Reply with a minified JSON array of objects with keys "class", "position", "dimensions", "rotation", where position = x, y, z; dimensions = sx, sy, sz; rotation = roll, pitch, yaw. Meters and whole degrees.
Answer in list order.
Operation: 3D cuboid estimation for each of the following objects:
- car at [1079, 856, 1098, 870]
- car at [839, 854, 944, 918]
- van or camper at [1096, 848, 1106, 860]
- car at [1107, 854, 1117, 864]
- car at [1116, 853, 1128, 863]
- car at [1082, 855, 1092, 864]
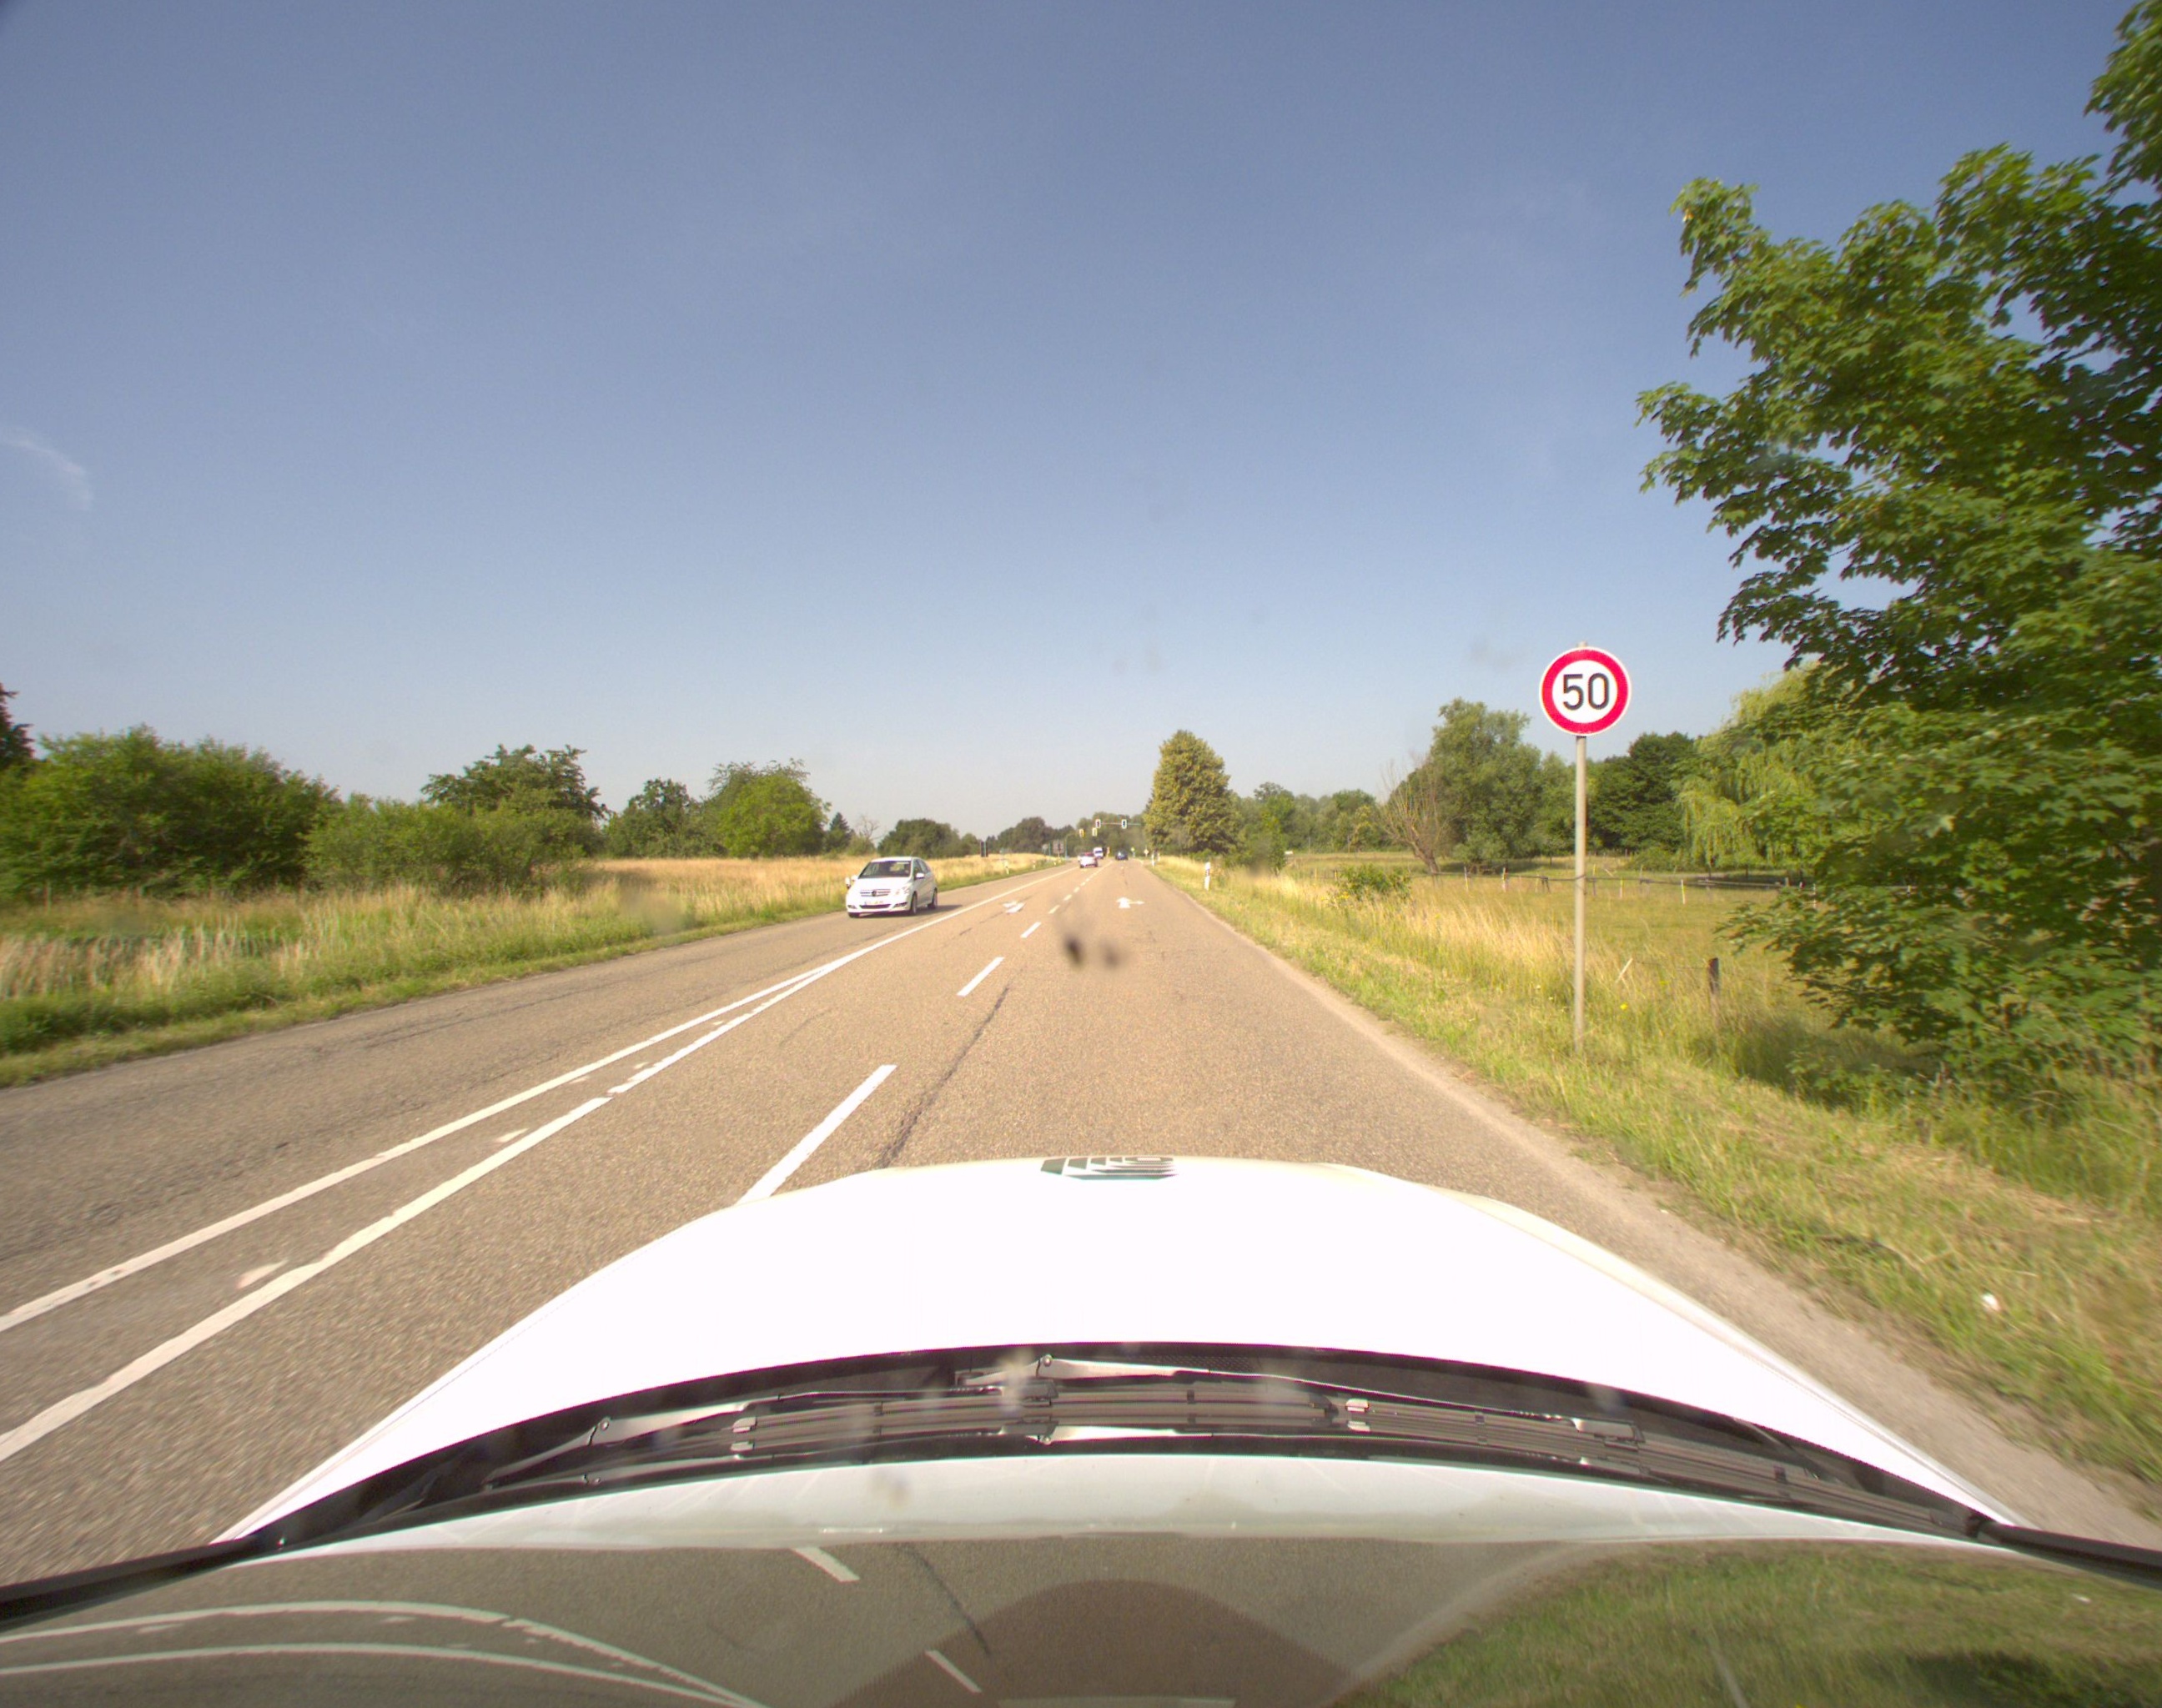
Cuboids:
[{"class":"car","position":[0.855,0.953,88.048],"dimensions":[1.892,1.512,4.002],"rotation":[0,0,2]},{"class":"car","position":[-5.227,0.830,23.050],"dimensions":[1.805,1.585,4.226],"rotation":[-2,0,2]},{"class":"van or camper","position":[4.595,0.089,187.298],"dimensions":[2.255,2.709,5.267],"rotation":[0,0,4]},{"class":"car","position":[6.097,0.956,160.927],"dimensions":[1.985,1.816,4.003],"rotation":[0,0,2]},{"class":"car","position":[6.838,0.639,135.614],"dimensions":[1.808,1.520,4.003],"rotation":[0,0,3]},{"class":"car","position":[1.144,0.982,159.053],"dimensions":[1.584,1.728,4.006],"rotation":[0,0,5]}]
